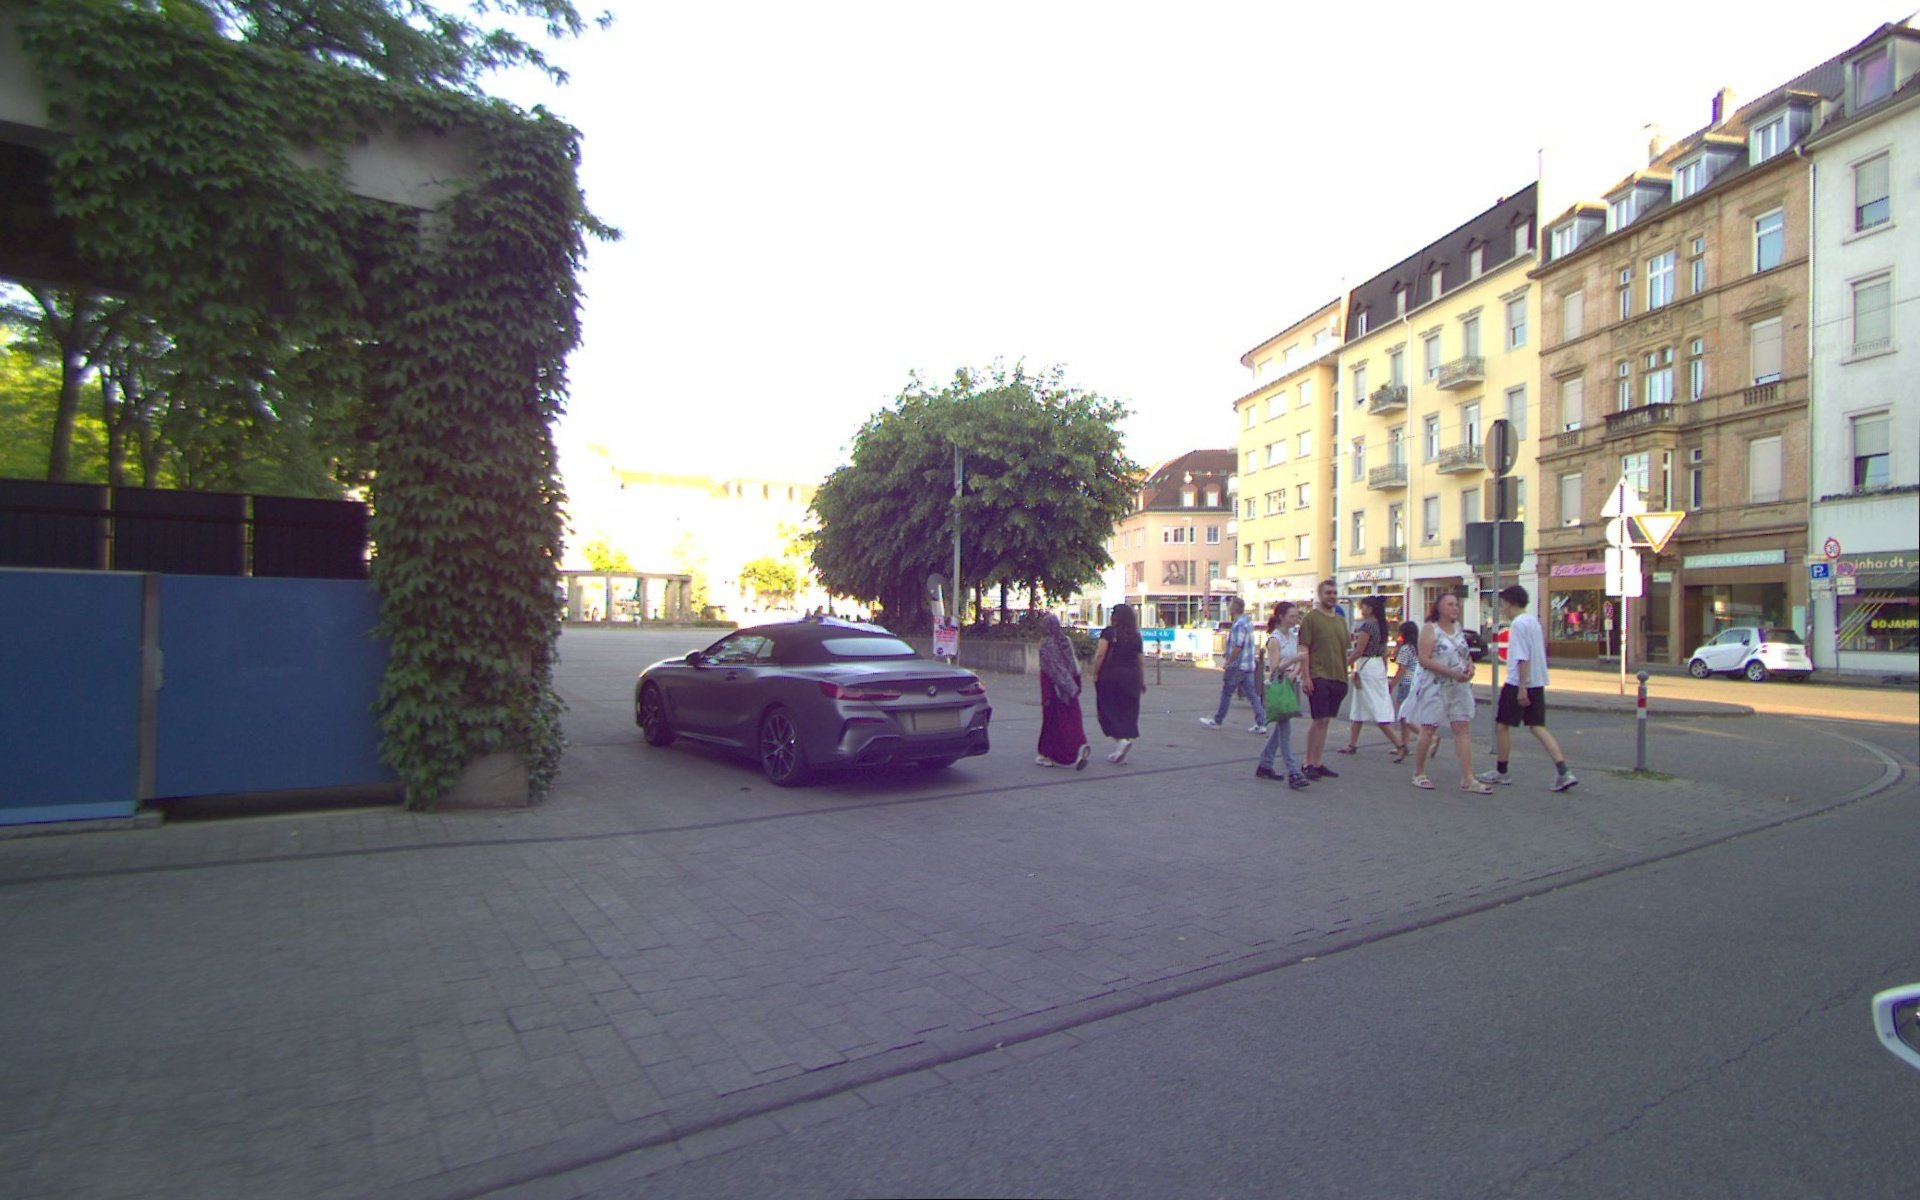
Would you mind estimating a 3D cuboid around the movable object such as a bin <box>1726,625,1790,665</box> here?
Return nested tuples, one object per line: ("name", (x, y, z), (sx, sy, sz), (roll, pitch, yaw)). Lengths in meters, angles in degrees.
("movable object such as a bin", (25.494, 1.427, 32.101), (0.853, 1.202, 1.396), (1, -1, -10))

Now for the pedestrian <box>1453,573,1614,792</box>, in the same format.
("pedestrian", (5.208, 0.710, 9.194), (0.965, 1.878, 0.890), (1, 0, 7))

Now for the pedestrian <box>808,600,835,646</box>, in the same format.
("pedestrian", (-6.264, 1.030, 45.387), (0.896, 2.040, 0.919), (1, -1, 14))

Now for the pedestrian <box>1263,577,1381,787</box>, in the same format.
("pedestrian", (3.417, 0.749, 9.542), (0.835, 1.902, 0.714), (1, 1, 1))

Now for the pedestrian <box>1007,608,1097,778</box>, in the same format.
("pedestrian", (0.896, 0.869, 9.767), (0.667, 1.563, 0.592), (1, 1, 28))

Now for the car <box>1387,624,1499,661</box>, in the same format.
("car", (20.700, 1.785, 43.307), (1.964, 1.453, 4.843), (1, -1, -9))

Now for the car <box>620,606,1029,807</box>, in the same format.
("car", (-1.575, 0.842, 10.082), (2.089, 1.450, 4.399), (1, 0, -39))

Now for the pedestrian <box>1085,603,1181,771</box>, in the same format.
("pedestrian", (1.719, 0.843, 10.059), (0.783, 1.603, 0.730), (1, 1, -2))

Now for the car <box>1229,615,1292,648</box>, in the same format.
("car", (17.927, 1.851, 60.162), (1.840, 1.786, 4.400), (1, 0, -10))

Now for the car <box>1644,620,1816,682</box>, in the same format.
("car", (22.739, 1.472, 29.875), (1.674, 1.606, 3.993), (1, 0, -9))

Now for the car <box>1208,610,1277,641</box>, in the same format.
("car", (15.312, 1.379, 54.689), (1.785, 1.538, 4.223), (1, 0, -14))

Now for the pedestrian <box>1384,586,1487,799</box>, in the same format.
("pedestrian", (4.360, 0.796, 9.196), (0.702, 1.827, 0.880), (2, 1, 33))

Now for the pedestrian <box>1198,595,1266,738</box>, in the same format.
("pedestrian", (3.520, 0.837, 12.992), (0.675, 1.769, 0.715), (1, 1, 27))

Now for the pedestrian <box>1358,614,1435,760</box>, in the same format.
("pedestrian", (4.756, 0.913, 10.936), (0.703, 1.506, 0.603), (1, 1, 28))

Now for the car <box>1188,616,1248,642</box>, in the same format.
("car", (16.976, 1.874, 66.320), (1.964, 1.634, 4.795), (1, -1, -10))

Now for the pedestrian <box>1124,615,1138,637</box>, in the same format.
("pedestrian", (13.919, 2.126, 81.781), (0.784, 1.743, 0.809), (2, -1, -16))

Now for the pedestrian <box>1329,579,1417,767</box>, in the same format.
("pedestrian", (4.410, 0.739, 10.703), (0.767, 1.900, 0.713), (1, 1, 27))

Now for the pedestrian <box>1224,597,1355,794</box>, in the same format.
("pedestrian", (2.997, 0.829, 9.160), (0.872, 1.691, 0.709), (1, 1, -30))

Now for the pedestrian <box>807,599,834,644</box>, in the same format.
("pedestrian", (-6.483, 0.999, 46.757), (0.896, 2.040, 0.919), (1, -1, 14))
